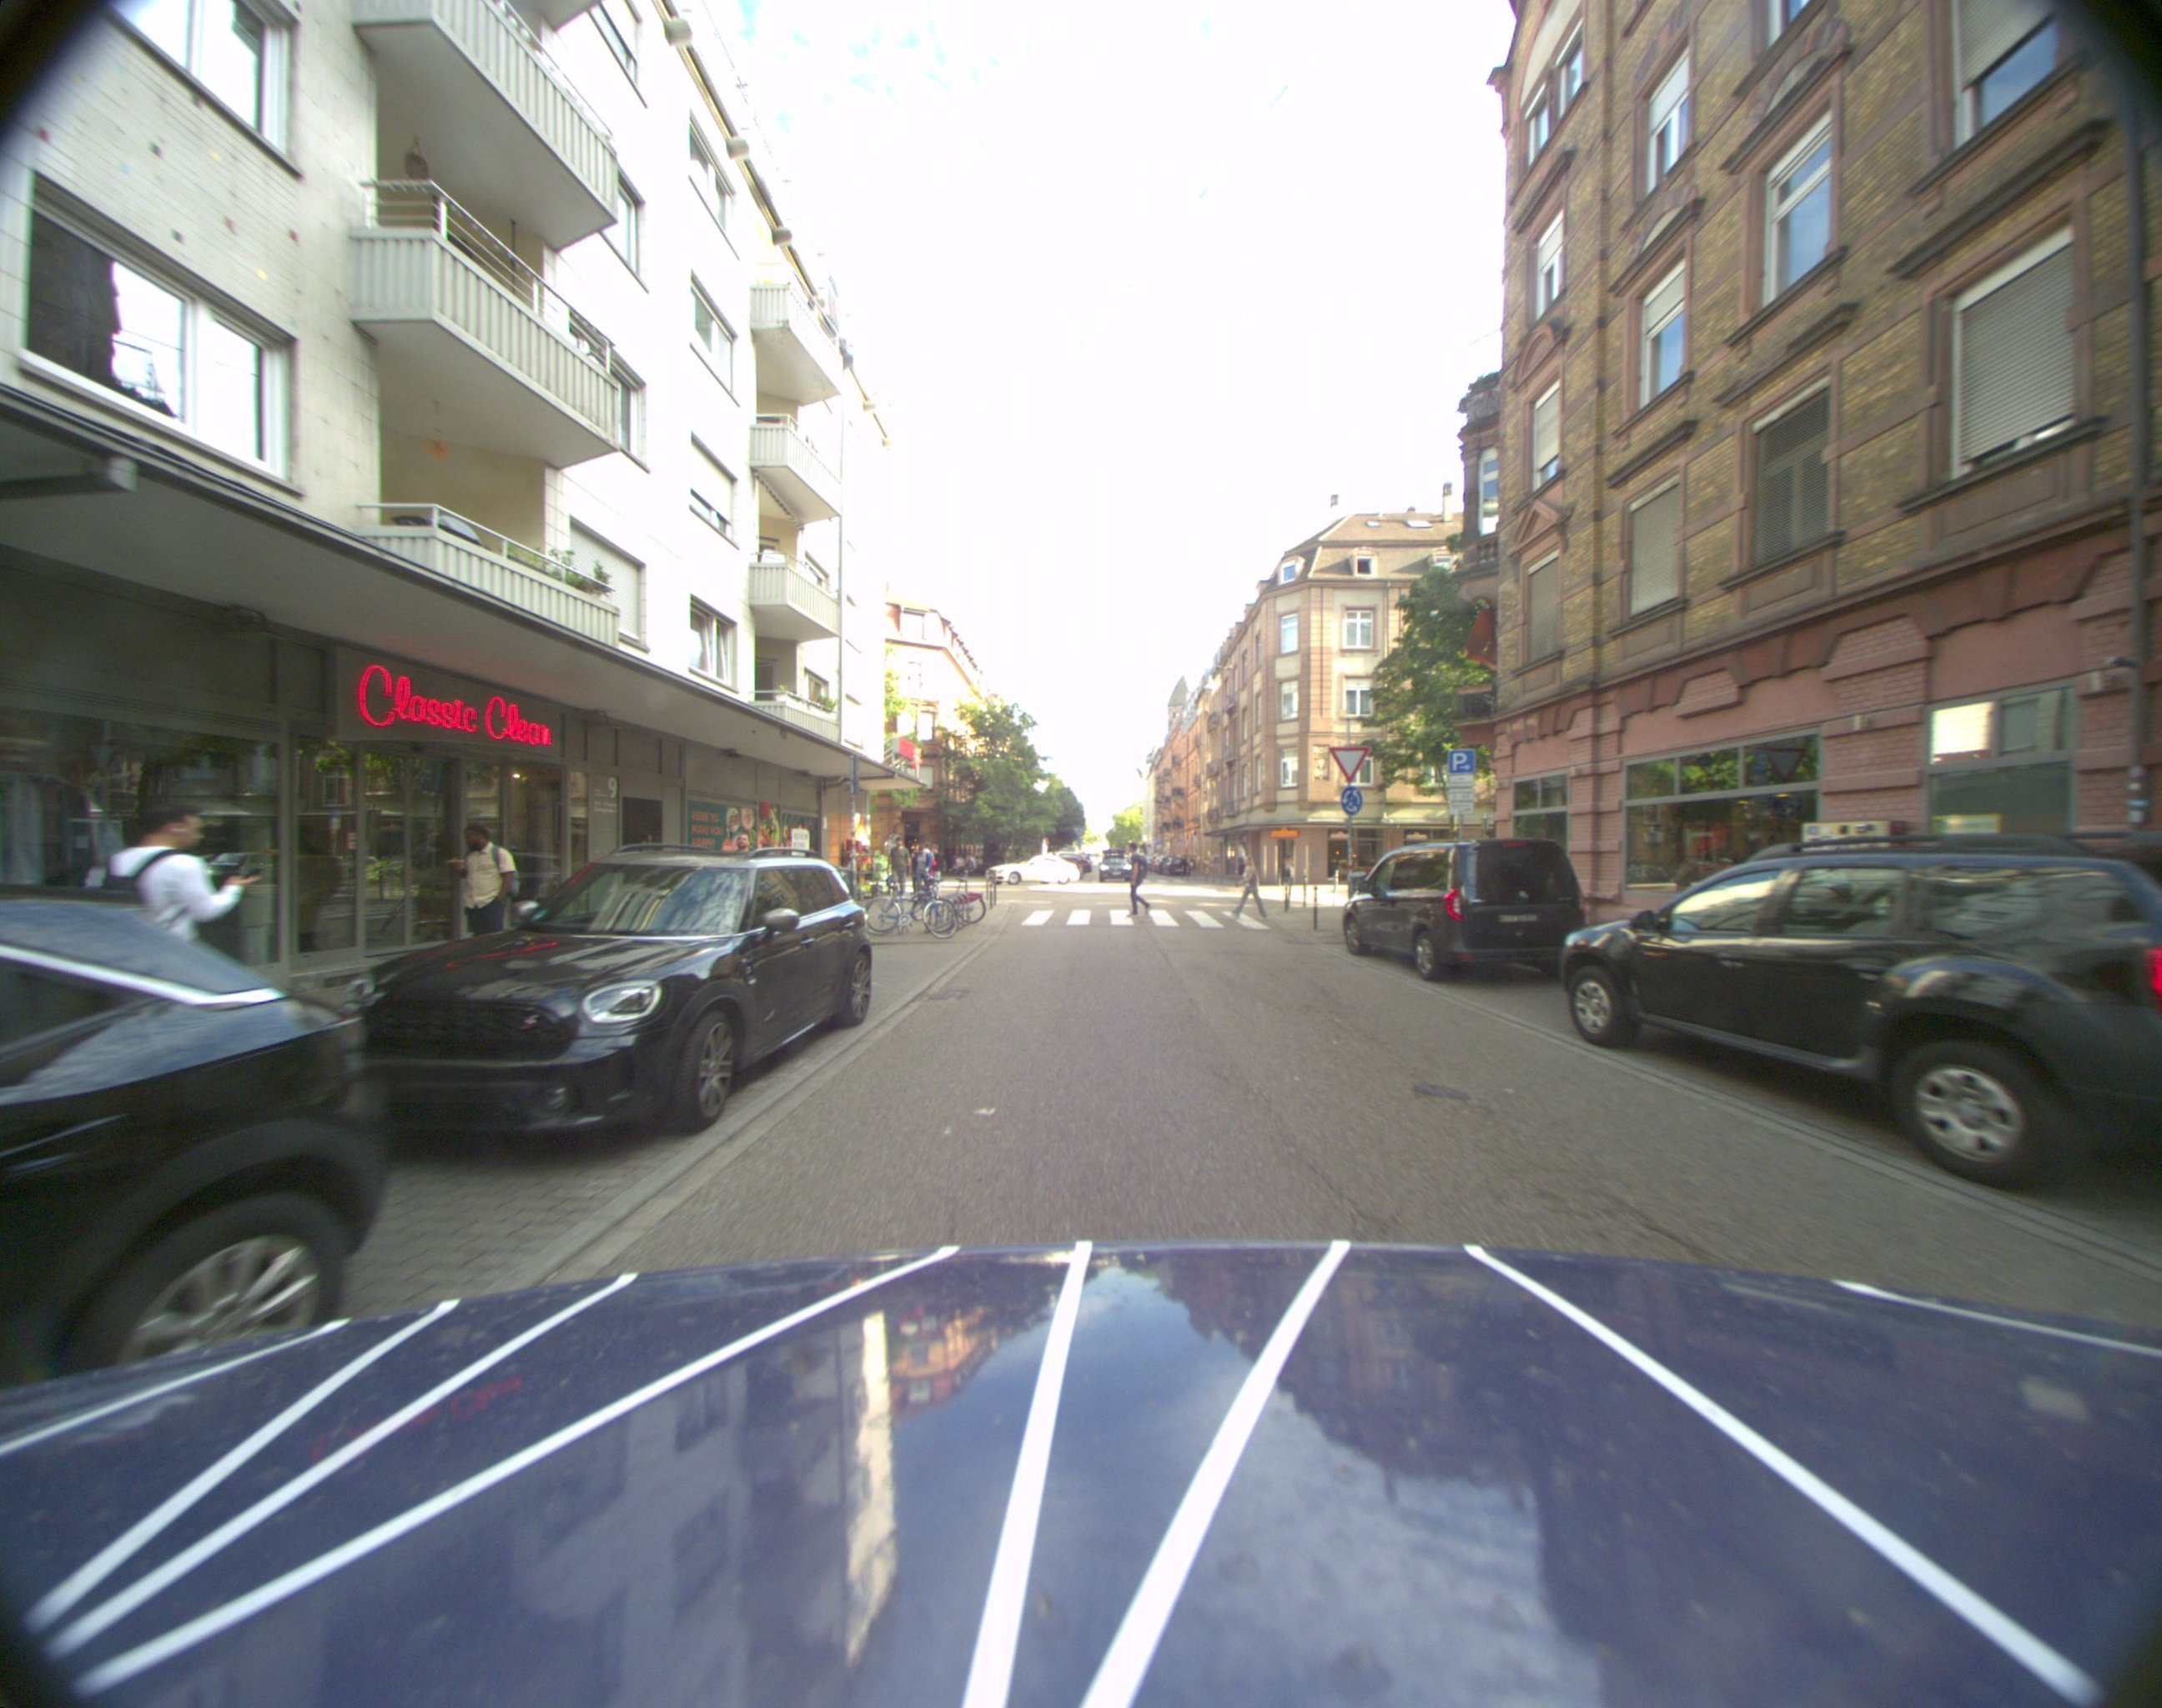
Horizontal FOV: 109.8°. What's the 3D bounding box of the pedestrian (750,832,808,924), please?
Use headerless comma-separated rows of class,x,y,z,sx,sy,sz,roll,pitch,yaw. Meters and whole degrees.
pedestrian,-5.580,0.436,14.091,0.724,1.623,0.712,3,0,-1

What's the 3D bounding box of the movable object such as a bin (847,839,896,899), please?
movable object such as a bin,-6.297,0.424,23.007,0.781,1.734,2.423,0,0,1

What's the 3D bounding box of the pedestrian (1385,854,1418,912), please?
pedestrian,9.540,0.832,22.627,0.802,1.661,1.024,1,2,27

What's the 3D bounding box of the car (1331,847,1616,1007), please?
car,5.162,0.841,10.793,1.764,1.763,4.406,-2,0,1

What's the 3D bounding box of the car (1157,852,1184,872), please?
car,7.564,0.673,64.487,1.861,1.575,4.399,-1,1,2

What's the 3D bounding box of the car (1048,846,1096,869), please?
car,-0.977,0.385,82.433,4.746,2.408,1.995,-1,0,-31

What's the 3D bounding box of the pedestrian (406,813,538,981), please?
pedestrian,-6.690,0.453,8.385,0.715,1.736,0.817,3,0,4

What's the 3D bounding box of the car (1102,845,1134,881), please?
car,2.241,0.487,45.472,1.792,2.051,4.001,1,0,5

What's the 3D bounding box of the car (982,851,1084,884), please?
car,-2.428,0.655,38.609,4.845,1.588,1.940,1,-1,-33

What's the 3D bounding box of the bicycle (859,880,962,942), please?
bicycle,-3.140,1.050,14.137,1.794,1.064,0.568,2,0,-8

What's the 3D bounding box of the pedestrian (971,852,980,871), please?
pedestrian,-7.282,0.520,52.414,0.467,1.320,0.620,0,2,-22

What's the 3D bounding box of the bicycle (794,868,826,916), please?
bicycle,-6.494,0.891,18.259,0.679,1.037,1.731,1,1,-18

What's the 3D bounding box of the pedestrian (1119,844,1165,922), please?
pedestrian,1.475,0.695,18.405,0.859,1.829,0.677,1,-1,-35

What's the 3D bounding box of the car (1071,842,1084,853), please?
car,-0.644,-1.062,127.037,1.850,1.724,3.998,-1,0,-4

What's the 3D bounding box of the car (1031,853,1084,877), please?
car,-1.743,0.850,56.394,3.592,1.606,1.510,3,0,-22

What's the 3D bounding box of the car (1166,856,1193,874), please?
car,7.666,0.827,59.280,1.723,1.360,3.830,-1,0,2

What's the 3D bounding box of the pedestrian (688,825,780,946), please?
pedestrian,-5.300,0.460,11.677,0.851,1.736,1.049,3,0,-1

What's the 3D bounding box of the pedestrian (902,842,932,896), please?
pedestrian,-5.653,0.525,26.198,0.654,1.786,0.660,3,0,14

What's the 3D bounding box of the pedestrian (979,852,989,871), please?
pedestrian,-6.650,0.510,52.082,0.467,1.320,0.620,0,2,-22

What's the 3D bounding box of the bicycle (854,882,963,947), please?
bicycle,-3.009,1.058,13.387,1.794,1.064,0.586,2,0,-8

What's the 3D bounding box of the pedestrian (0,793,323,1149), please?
pedestrian,-5.128,0.571,4.235,0.613,1.716,1.127,-1,0,4

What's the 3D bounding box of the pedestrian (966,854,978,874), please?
pedestrian,-7.156,0.654,50.004,0.729,1.307,0.607,-1,0,-10

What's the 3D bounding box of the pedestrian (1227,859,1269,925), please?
pedestrian,4.064,0.907,18.465,0.810,1.568,0.614,0,0,-13

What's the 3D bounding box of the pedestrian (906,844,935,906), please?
pedestrian,-4.603,0.587,21.831,0.765,1.743,0.930,0,0,-8

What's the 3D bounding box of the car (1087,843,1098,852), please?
car,2.464,-1.284,162.267,1.998,1.877,4.001,-1,0,4

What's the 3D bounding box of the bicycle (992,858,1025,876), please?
bicycle,-4.364,0.766,45.871,1.855,1.029,0.684,1,1,1

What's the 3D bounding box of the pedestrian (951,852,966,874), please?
pedestrian,-7.923,0.592,49.179,0.715,1.371,0.671,1,2,36

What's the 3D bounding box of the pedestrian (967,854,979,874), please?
pedestrian,-6.944,0.648,48.864,0.729,1.307,0.520,-1,0,-10

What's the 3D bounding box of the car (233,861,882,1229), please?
car,-2.876,0.872,5.373,1.797,1.596,3.924,1,0,1

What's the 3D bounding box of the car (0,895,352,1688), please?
car,-3.051,0.909,0.332,1.692,1.568,3.902,1,0,0

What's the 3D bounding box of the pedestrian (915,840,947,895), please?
pedestrian,-5.070,0.452,25.679,0.712,1.786,0.634,3,0,34

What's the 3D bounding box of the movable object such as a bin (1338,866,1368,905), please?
movable object such as a bin,5.190,0.592,14.518,0.384,0.710,0.476,-1,0,-3

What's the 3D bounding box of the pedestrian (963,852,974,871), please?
pedestrian,-7.611,0.507,51.418,0.549,1.293,0.620,0,2,-22

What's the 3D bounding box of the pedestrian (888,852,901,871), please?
pedestrian,-12.335,0.522,50.219,0.510,1.218,0.643,3,3,34

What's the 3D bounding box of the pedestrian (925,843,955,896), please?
pedestrian,-4.859,0.540,26.184,0.716,1.786,0.630,4,0,-34

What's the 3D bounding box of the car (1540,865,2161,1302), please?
car,5.147,0.905,4.816,1.998,1.628,4.145,-1,0,1

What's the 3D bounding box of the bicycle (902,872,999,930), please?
bicycle,-2.800,1.004,16.494,1.887,1.119,0.907,3,0,-1

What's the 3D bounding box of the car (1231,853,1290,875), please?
car,13.914,0.734,58.884,3.999,1.611,1.999,-1,0,-7

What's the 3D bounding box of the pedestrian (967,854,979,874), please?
pedestrian,-7.026,0.650,49.374,0.729,1.307,0.520,-1,0,-10

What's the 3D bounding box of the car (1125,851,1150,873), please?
car,4.908,0.736,66.288,1.833,1.780,4.331,-2,-1,1
